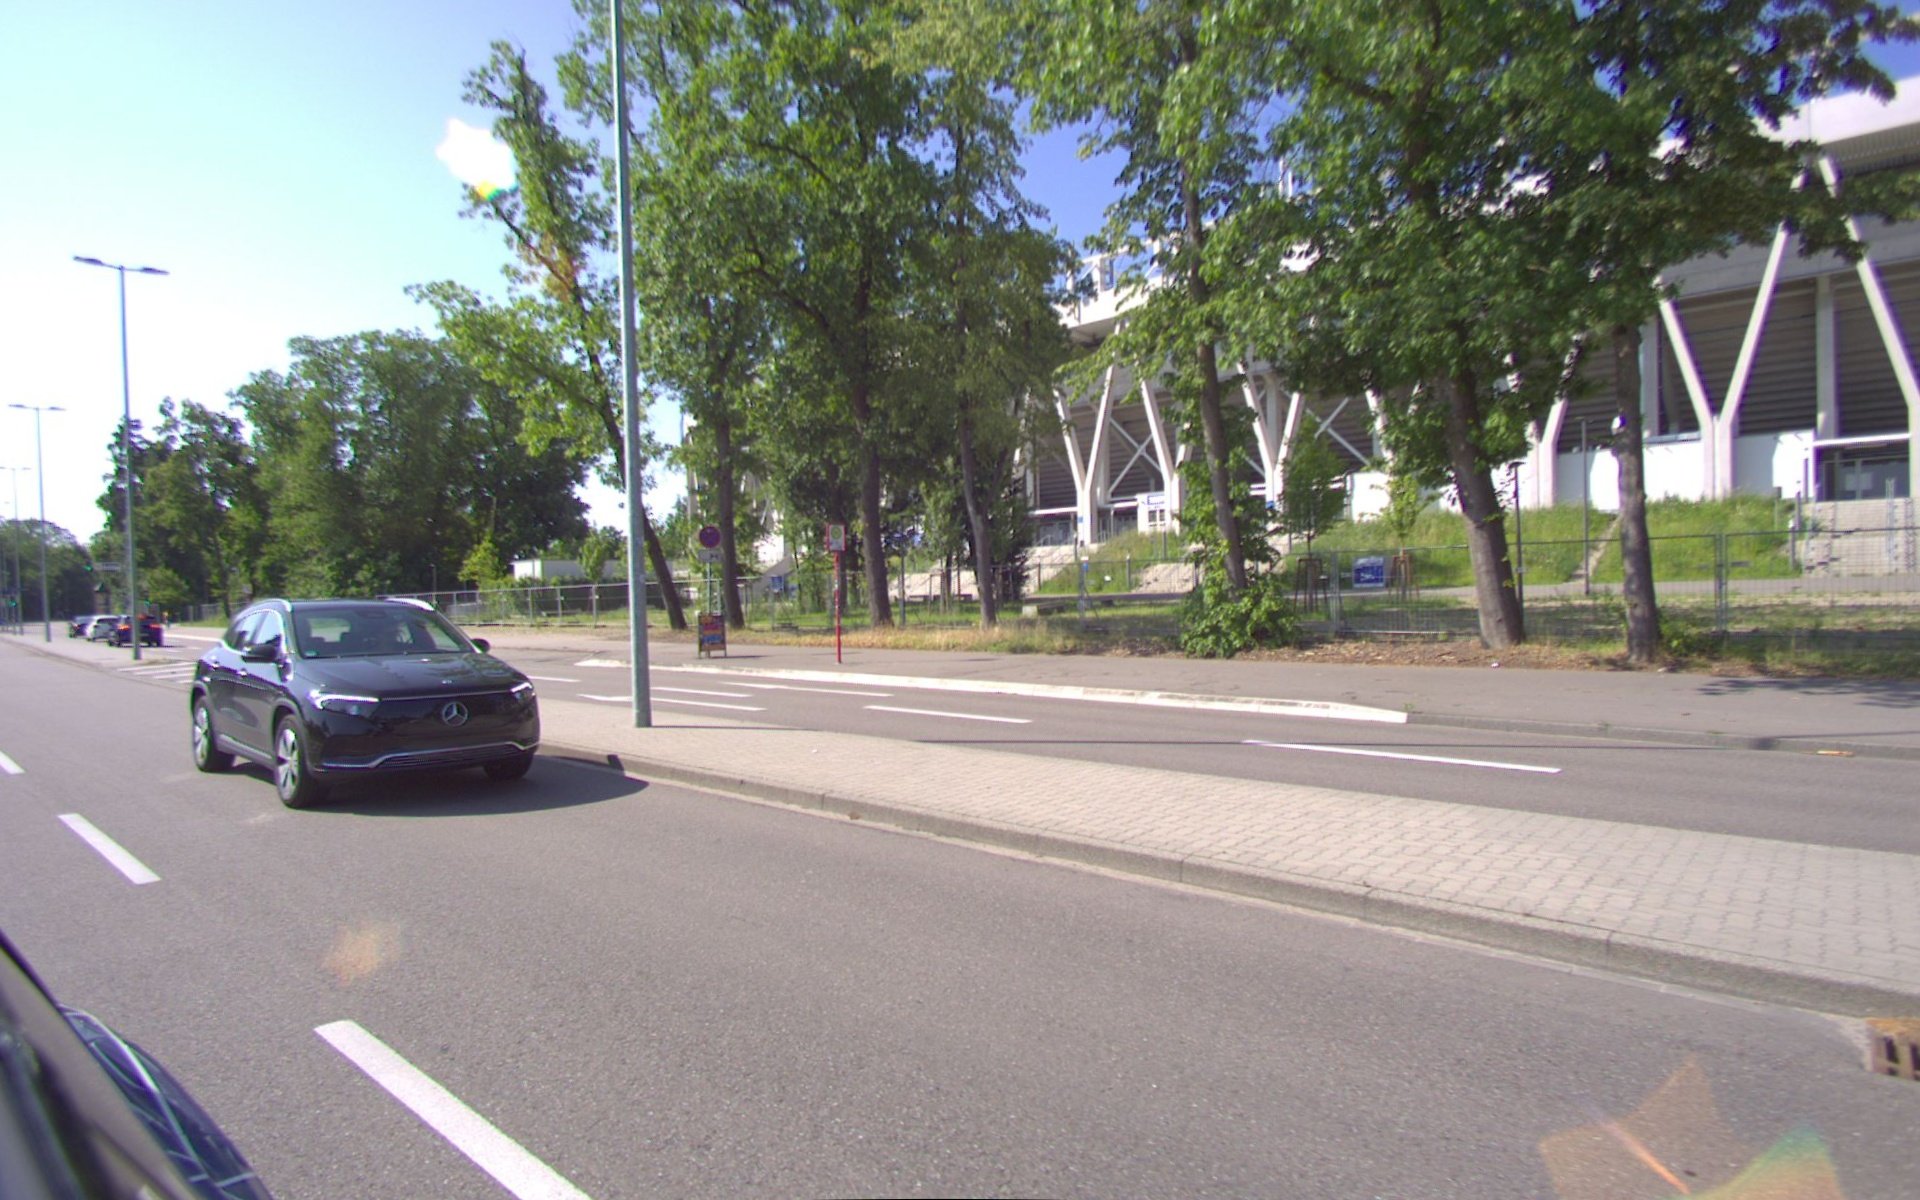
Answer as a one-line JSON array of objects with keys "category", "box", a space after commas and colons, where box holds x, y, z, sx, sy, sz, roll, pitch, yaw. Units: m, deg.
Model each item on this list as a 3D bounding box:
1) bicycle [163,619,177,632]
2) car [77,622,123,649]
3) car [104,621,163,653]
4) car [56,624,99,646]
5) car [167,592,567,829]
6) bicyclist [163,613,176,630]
[{"category": "bicycle", "box": [-71.693, 2.320, 91.831, 1.879, 1.144, 0.652, -2, 1, 43]}, {"category": "car", "box": [-49.745, 2.037, 58.533, 3.800, 1.477, 1.605, -1, -2, 43]}, {"category": "car", "box": [-39.879, 1.763, 48.807, 3.948, 1.497, 1.734, -1, -2, 44]}, {"category": "car", "box": [-59.759, 2.357, 68.494, 4.162, 1.398, 1.791, -1, -2, 44]}, {"category": "car", "box": [-5.400, 0.798, 8.978, 4.271, 1.608, 1.786, -1, -2, 41]}, {"category": "bicyclist", "box": [-71.736, 1.984, 91.832, 1.057, 1.478, 0.652, -2, 1, 43]}]
